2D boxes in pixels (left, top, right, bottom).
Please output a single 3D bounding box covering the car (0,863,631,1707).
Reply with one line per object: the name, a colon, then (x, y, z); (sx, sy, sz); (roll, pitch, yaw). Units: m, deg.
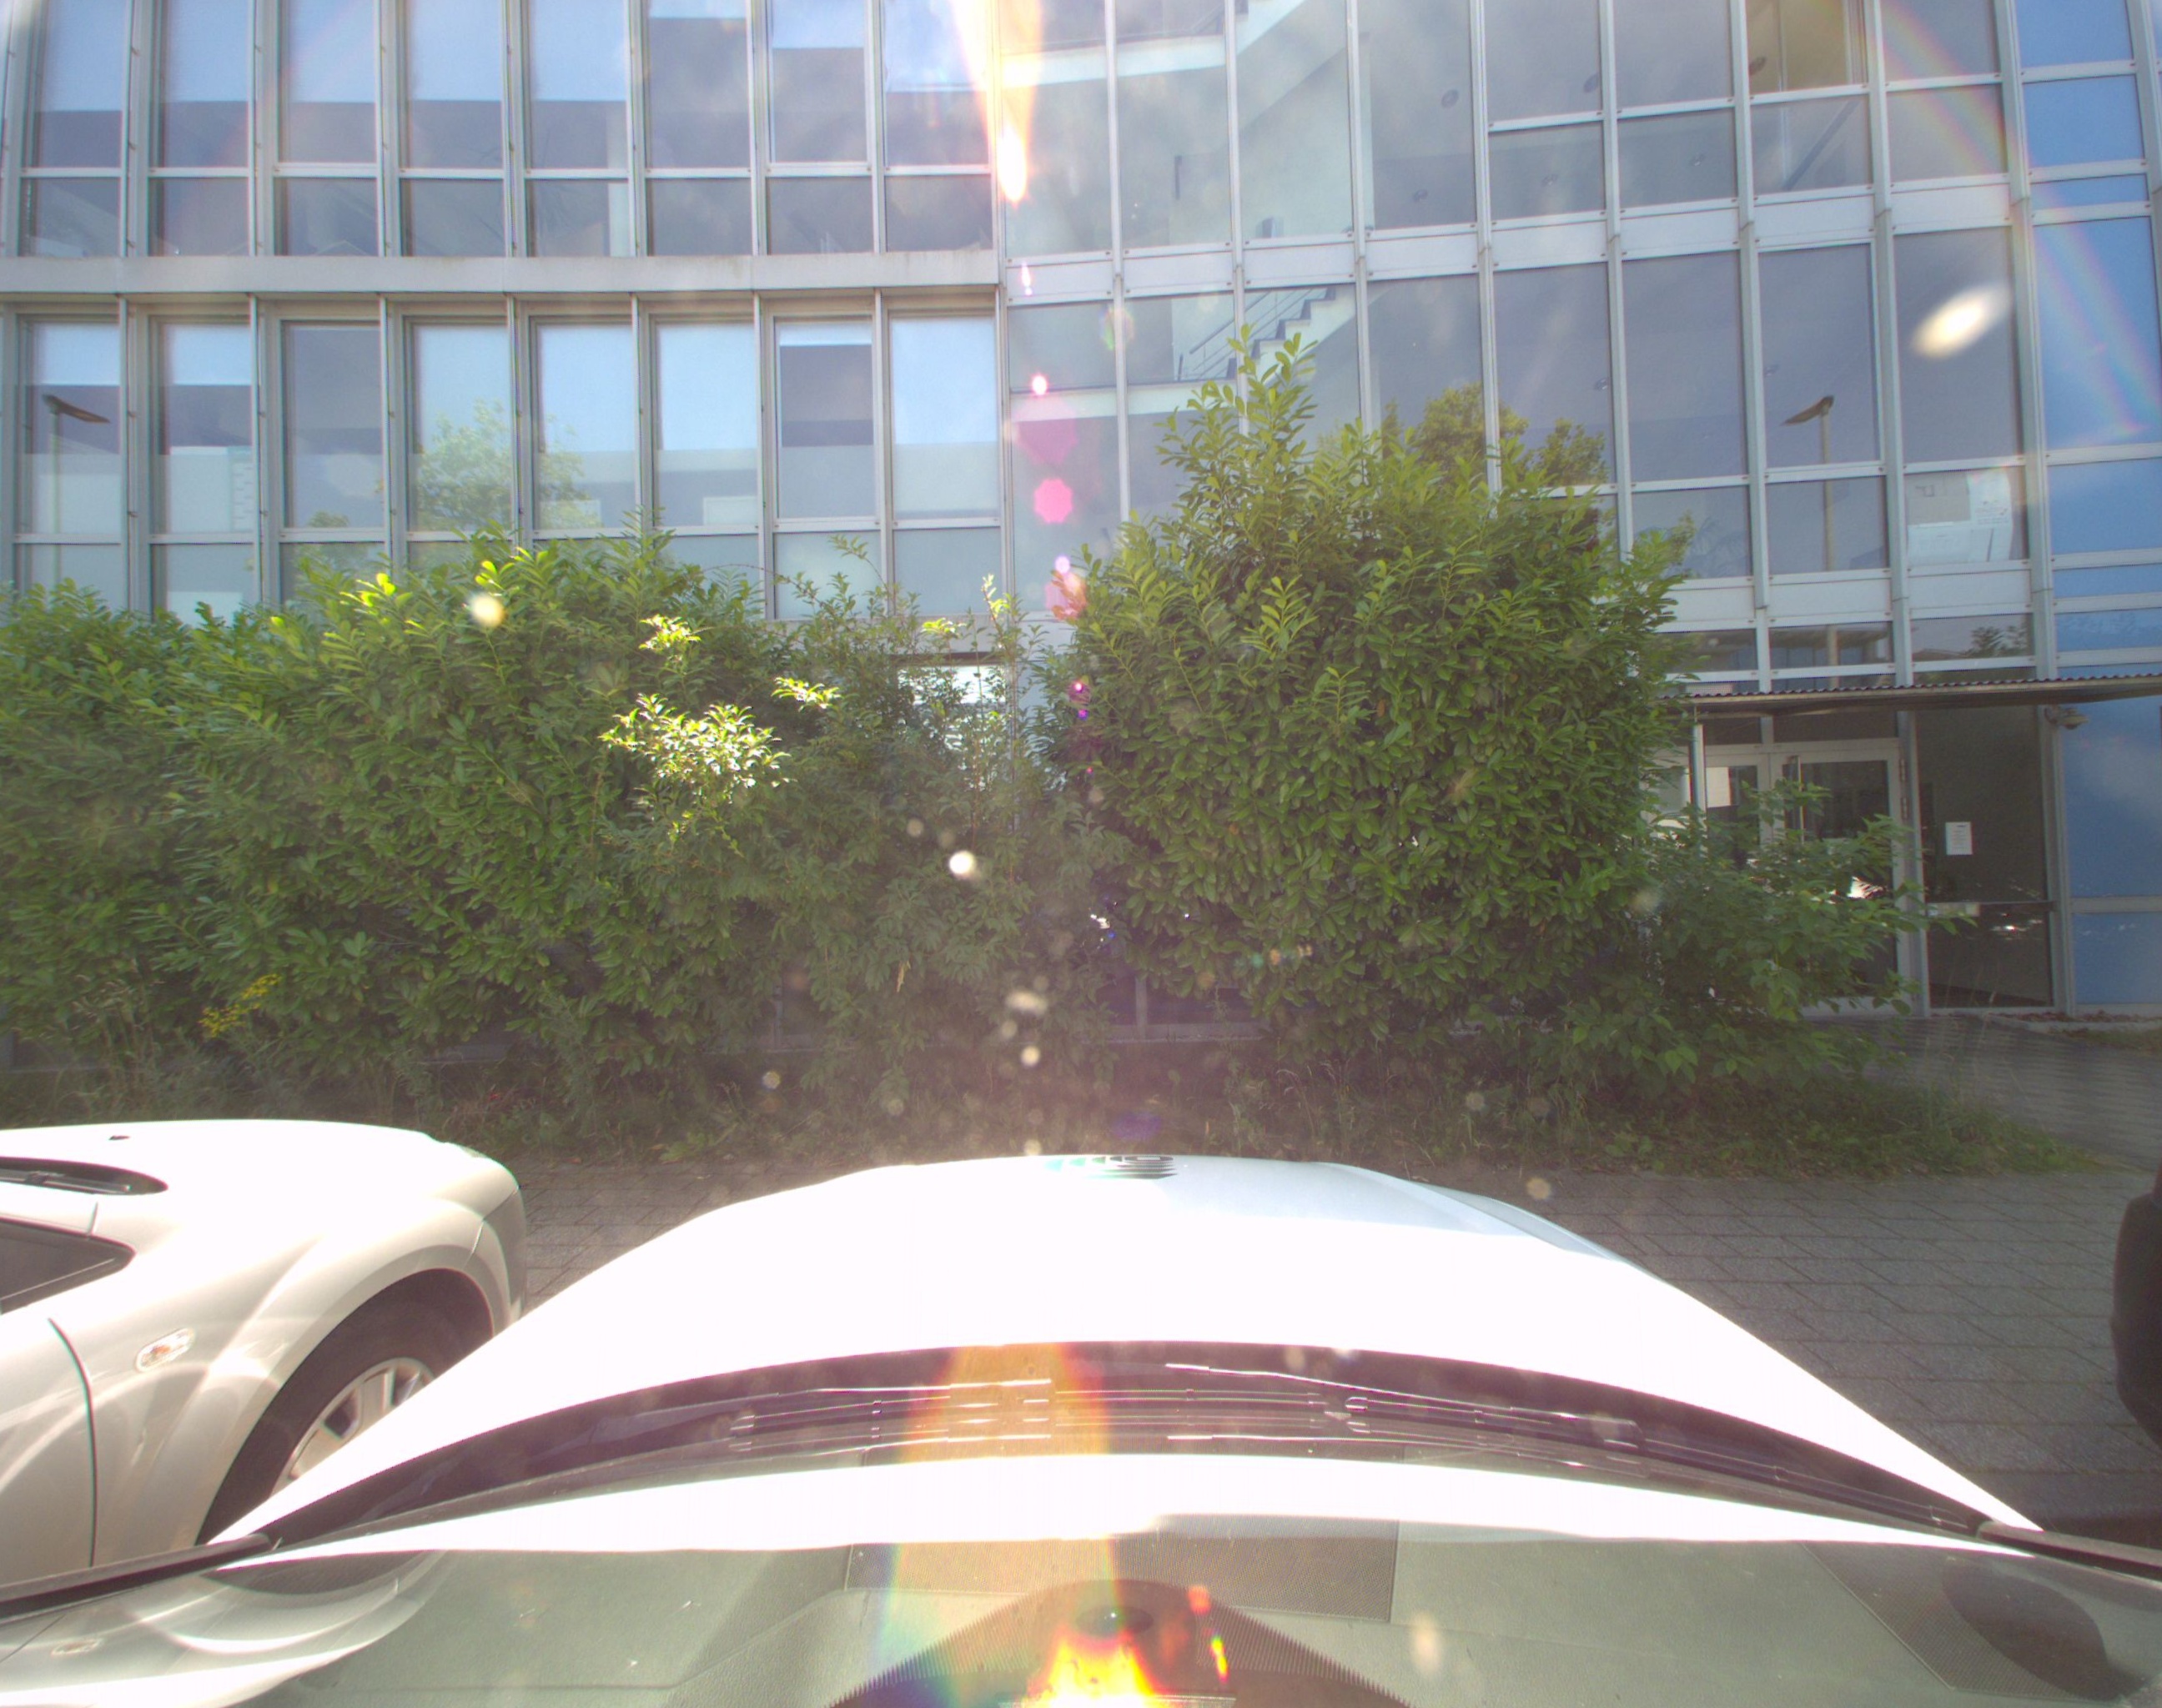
car: (-2.200, 0.772, 0.169); (1.713, 1.479, 4.349); (-1, 0, 1)
